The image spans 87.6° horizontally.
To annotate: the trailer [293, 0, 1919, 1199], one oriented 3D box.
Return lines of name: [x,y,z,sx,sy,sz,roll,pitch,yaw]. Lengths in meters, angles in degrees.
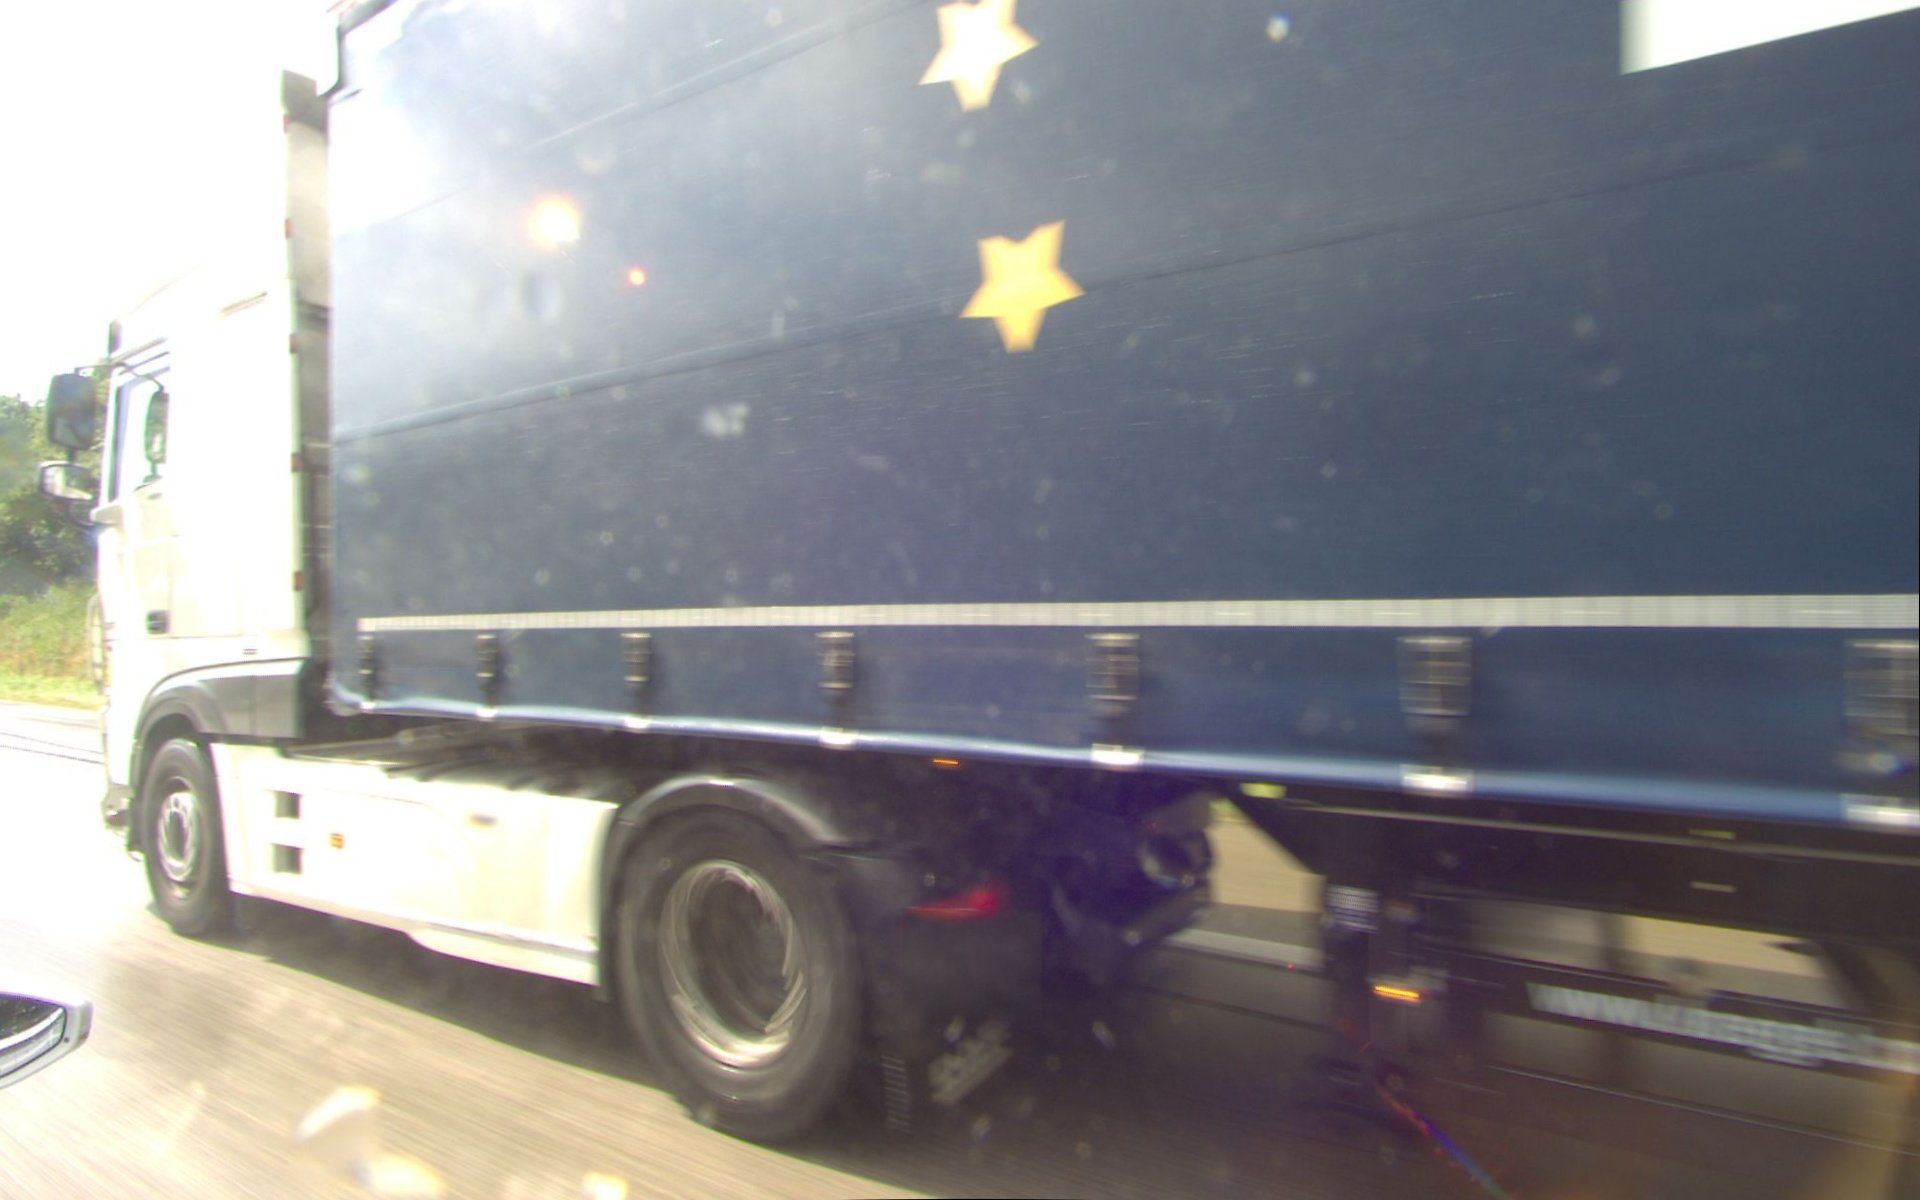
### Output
trailer: [3.914,-0.551,1.335,13.865,4.046,2.630,-1,-2,33]

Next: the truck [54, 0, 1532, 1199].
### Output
truck: [-1.474,-0.437,4.830,7.189,4.046,2.601,-1,-2,34]
